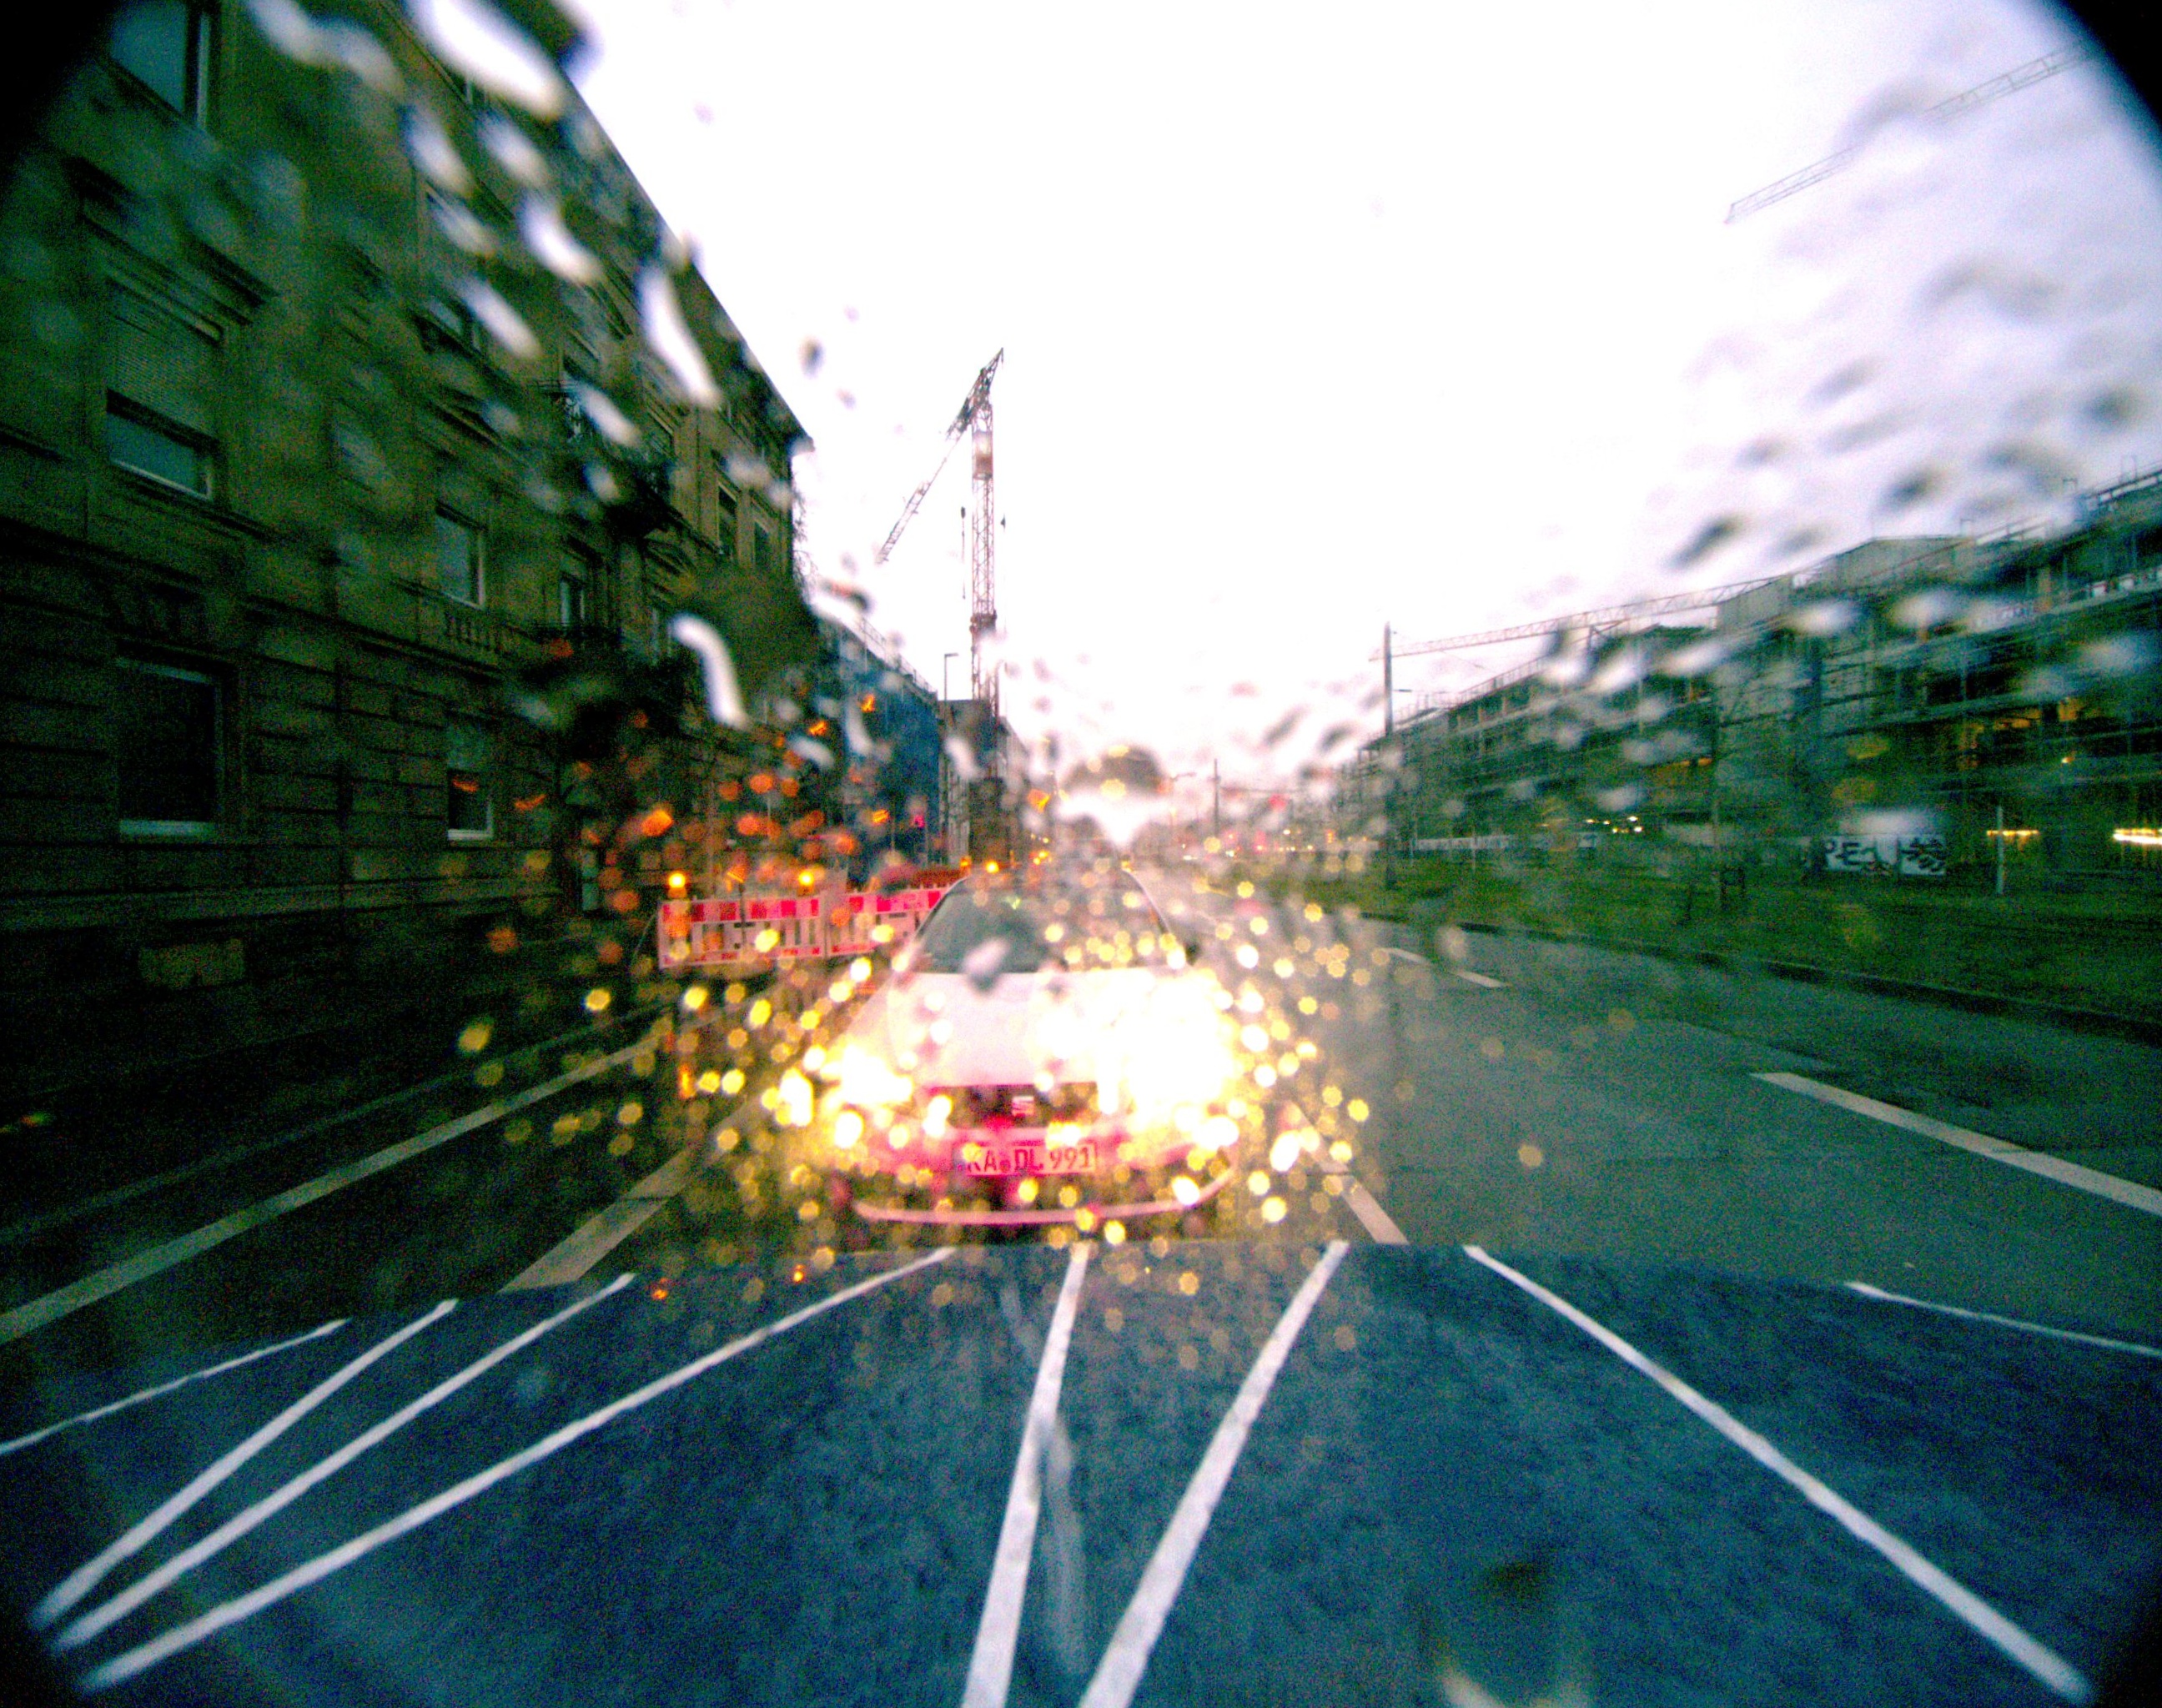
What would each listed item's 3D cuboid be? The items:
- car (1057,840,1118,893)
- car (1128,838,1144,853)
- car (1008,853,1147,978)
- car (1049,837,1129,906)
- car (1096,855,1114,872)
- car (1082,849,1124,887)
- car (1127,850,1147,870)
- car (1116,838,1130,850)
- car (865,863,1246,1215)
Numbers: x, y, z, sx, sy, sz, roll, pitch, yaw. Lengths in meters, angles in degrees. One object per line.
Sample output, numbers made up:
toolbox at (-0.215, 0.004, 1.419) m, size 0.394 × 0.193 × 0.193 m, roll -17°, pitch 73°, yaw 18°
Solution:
car at (0.195, 0.349, 25.103) m, size 1.769 × 1.504 × 3.899 m, roll -3°, pitch 1°, yaw 0°
car at (6.309, -1.032, 87.342) m, size 1.768 × 1.614 × 3.900 m, roll -3°, pitch 1°, yaw 4°
car at (-0.050, 0.808, 12.012) m, size 1.769 × 1.504 × 3.899 m, roll -3°, pitch 1°, yaw 0°
car at (0.178, 0.358, 19.326) m, size 1.769 × 1.504 × 3.899 m, roll -3°, pitch 1°, yaw 0°
car at (2.538, 0.956, 79.064) m, size 1.768 × 1.504 × 3.900 m, roll -3°, pitch 1°, yaw 3°
car at (0.966, 0.600, 35.328) m, size 1.769 × 1.504 × 3.899 m, roll -3°, pitch 1°, yaw 0°
car at (5.131, 0.494, 69.739) m, size 1.768 × 1.614 × 3.900 m, roll -3°, pitch 1°, yaw 4°
car at (5.911, -1.427, 107.034) m, size 1.768 × 1.614 × 3.900 m, roll -3°, pitch 1°, yaw 4°
car at (-0.124, 0.919, 5.620) m, size 1.769 × 1.504 × 3.899 m, roll -3°, pitch 1°, yaw 0°
